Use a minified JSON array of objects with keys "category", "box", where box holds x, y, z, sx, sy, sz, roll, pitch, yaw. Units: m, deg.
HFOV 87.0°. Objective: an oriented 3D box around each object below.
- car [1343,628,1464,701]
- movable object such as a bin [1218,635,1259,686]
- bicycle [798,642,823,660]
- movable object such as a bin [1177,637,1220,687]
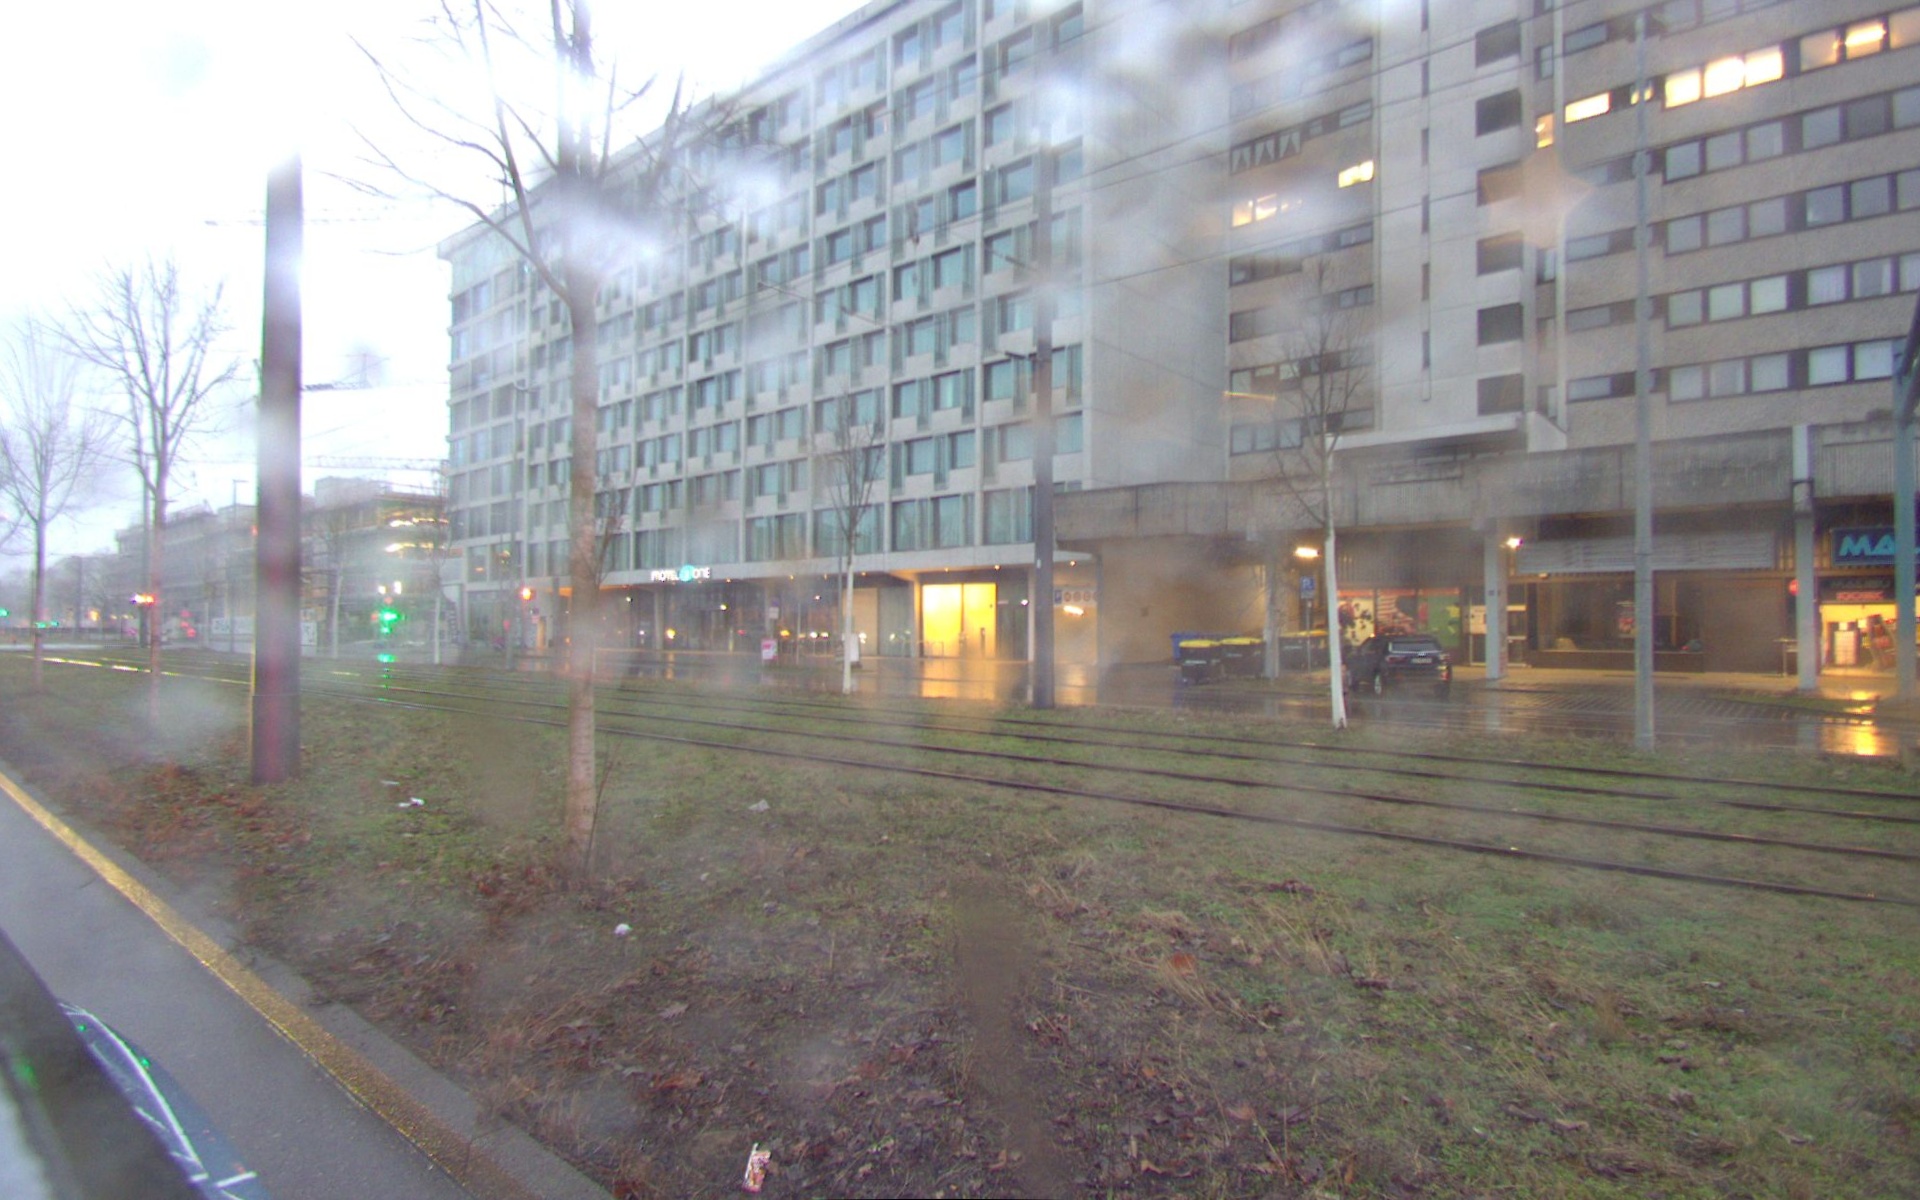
[{"category":"car","box":[11.966,1.679,27.588,1.962,1.706,4.131,-1,0,9]},{"category":"movable object such as a bin","box":[8.686,1.853,31.551,1.008,1.512,1.042,-1,0,30]},{"category":"bicycle","box":[-7.841,2.677,53.185,0.465,0.860,1.332,-1,0,39]},{"category":"movable object such as a bin","box":[7.332,1.881,31.098,1.027,1.437,1.063,-1,0,30]}]
